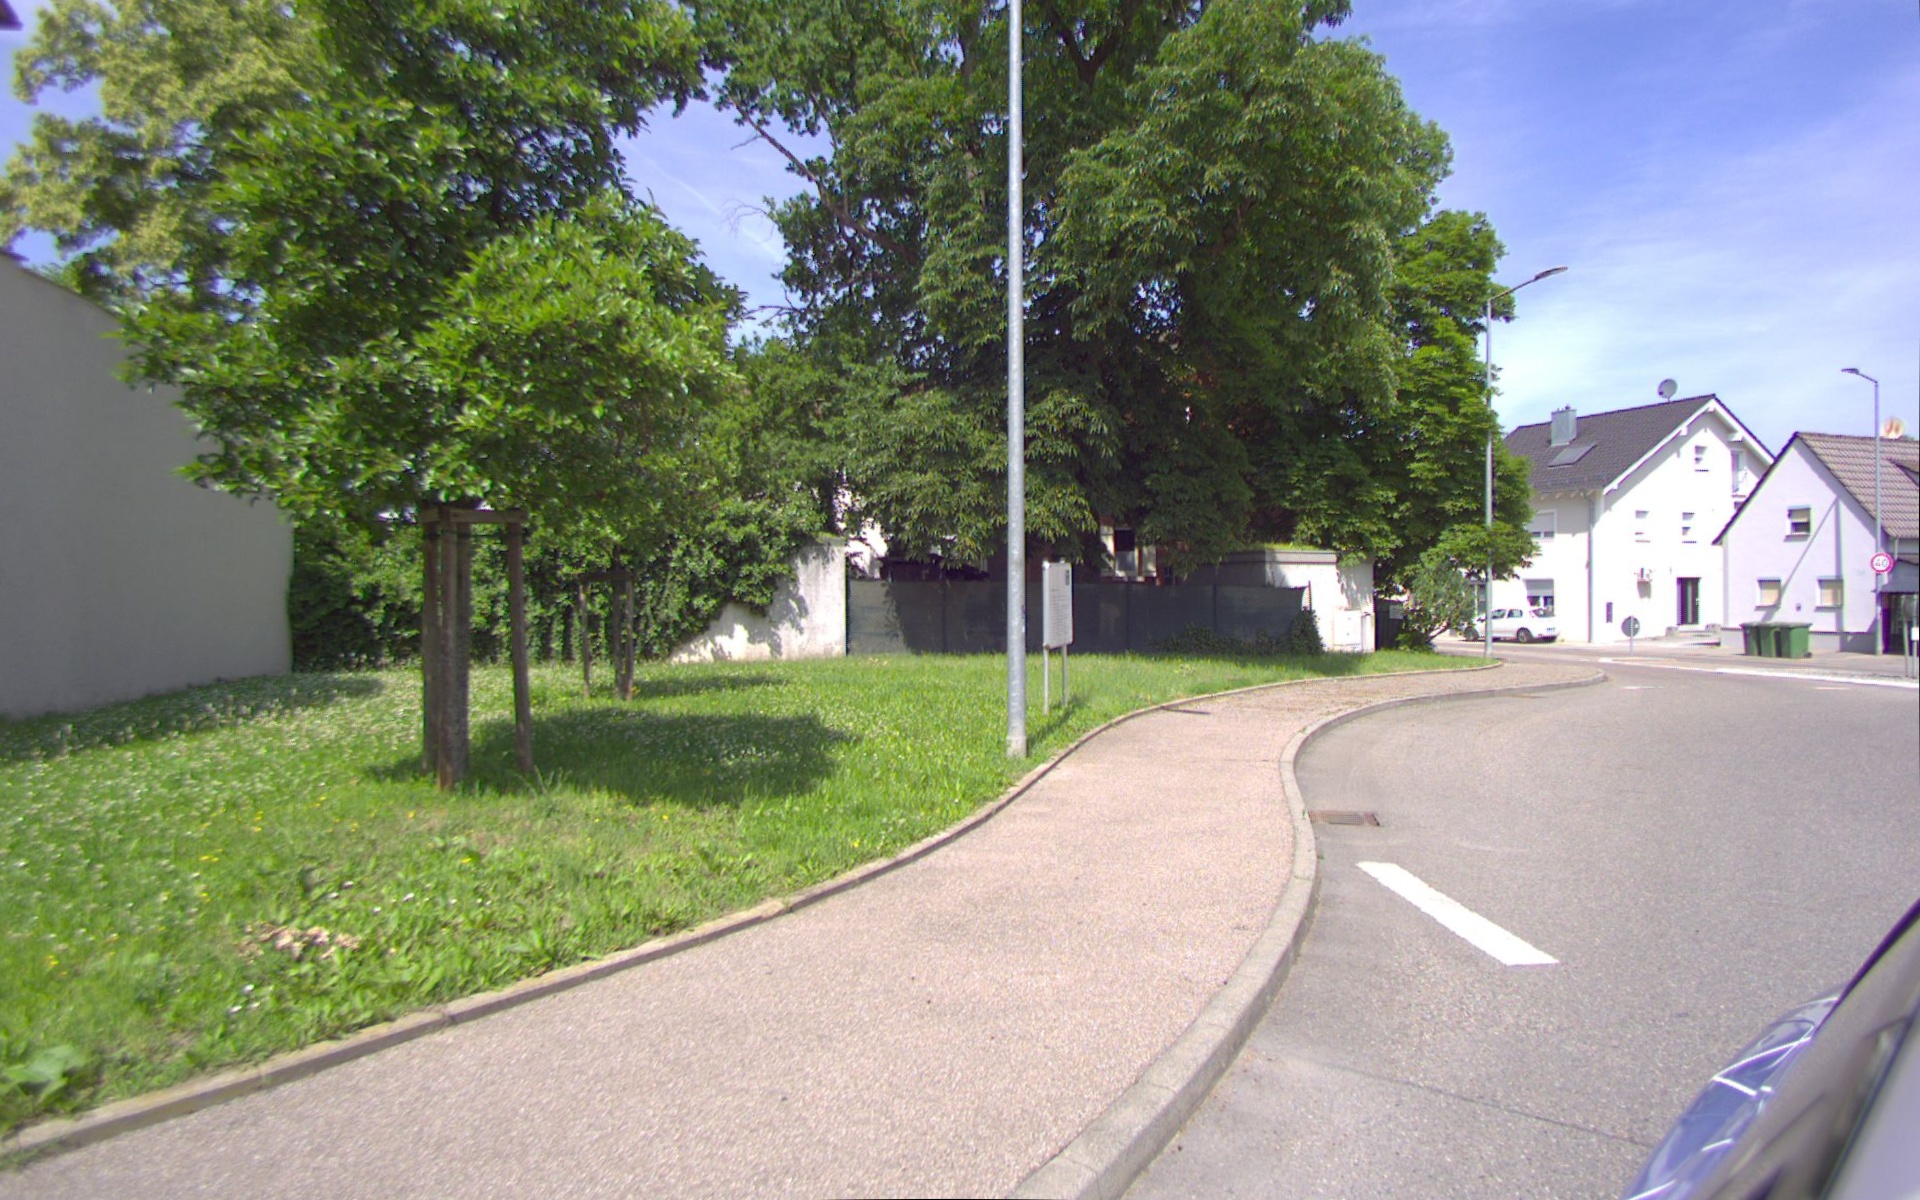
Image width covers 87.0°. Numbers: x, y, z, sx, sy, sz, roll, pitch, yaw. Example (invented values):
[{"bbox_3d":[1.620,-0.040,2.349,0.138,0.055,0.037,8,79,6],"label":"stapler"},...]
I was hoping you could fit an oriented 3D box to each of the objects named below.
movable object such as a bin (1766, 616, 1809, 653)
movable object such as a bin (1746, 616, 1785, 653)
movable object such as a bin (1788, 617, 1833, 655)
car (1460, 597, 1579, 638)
[{"bbox_3d":[25.305,1.051,30.955,0.718,1.090,0.633,-3,-1,-8],"label":"movable object such as a bin"},{"bbox_3d":[25.188,1.080,31.647,0.630,1.107,0.633,-3,-1,-8],"label":"movable object such as a bin"},{"bbox_3d":[25.396,1.066,30.224,0.669,1.090,0.726,-3,0,-8],"label":"movable object such as a bin"},{"bbox_3d":[23.117,0.711,41.984,1.788,1.521,4.007,-2,0,-23],"label":"car"}]
